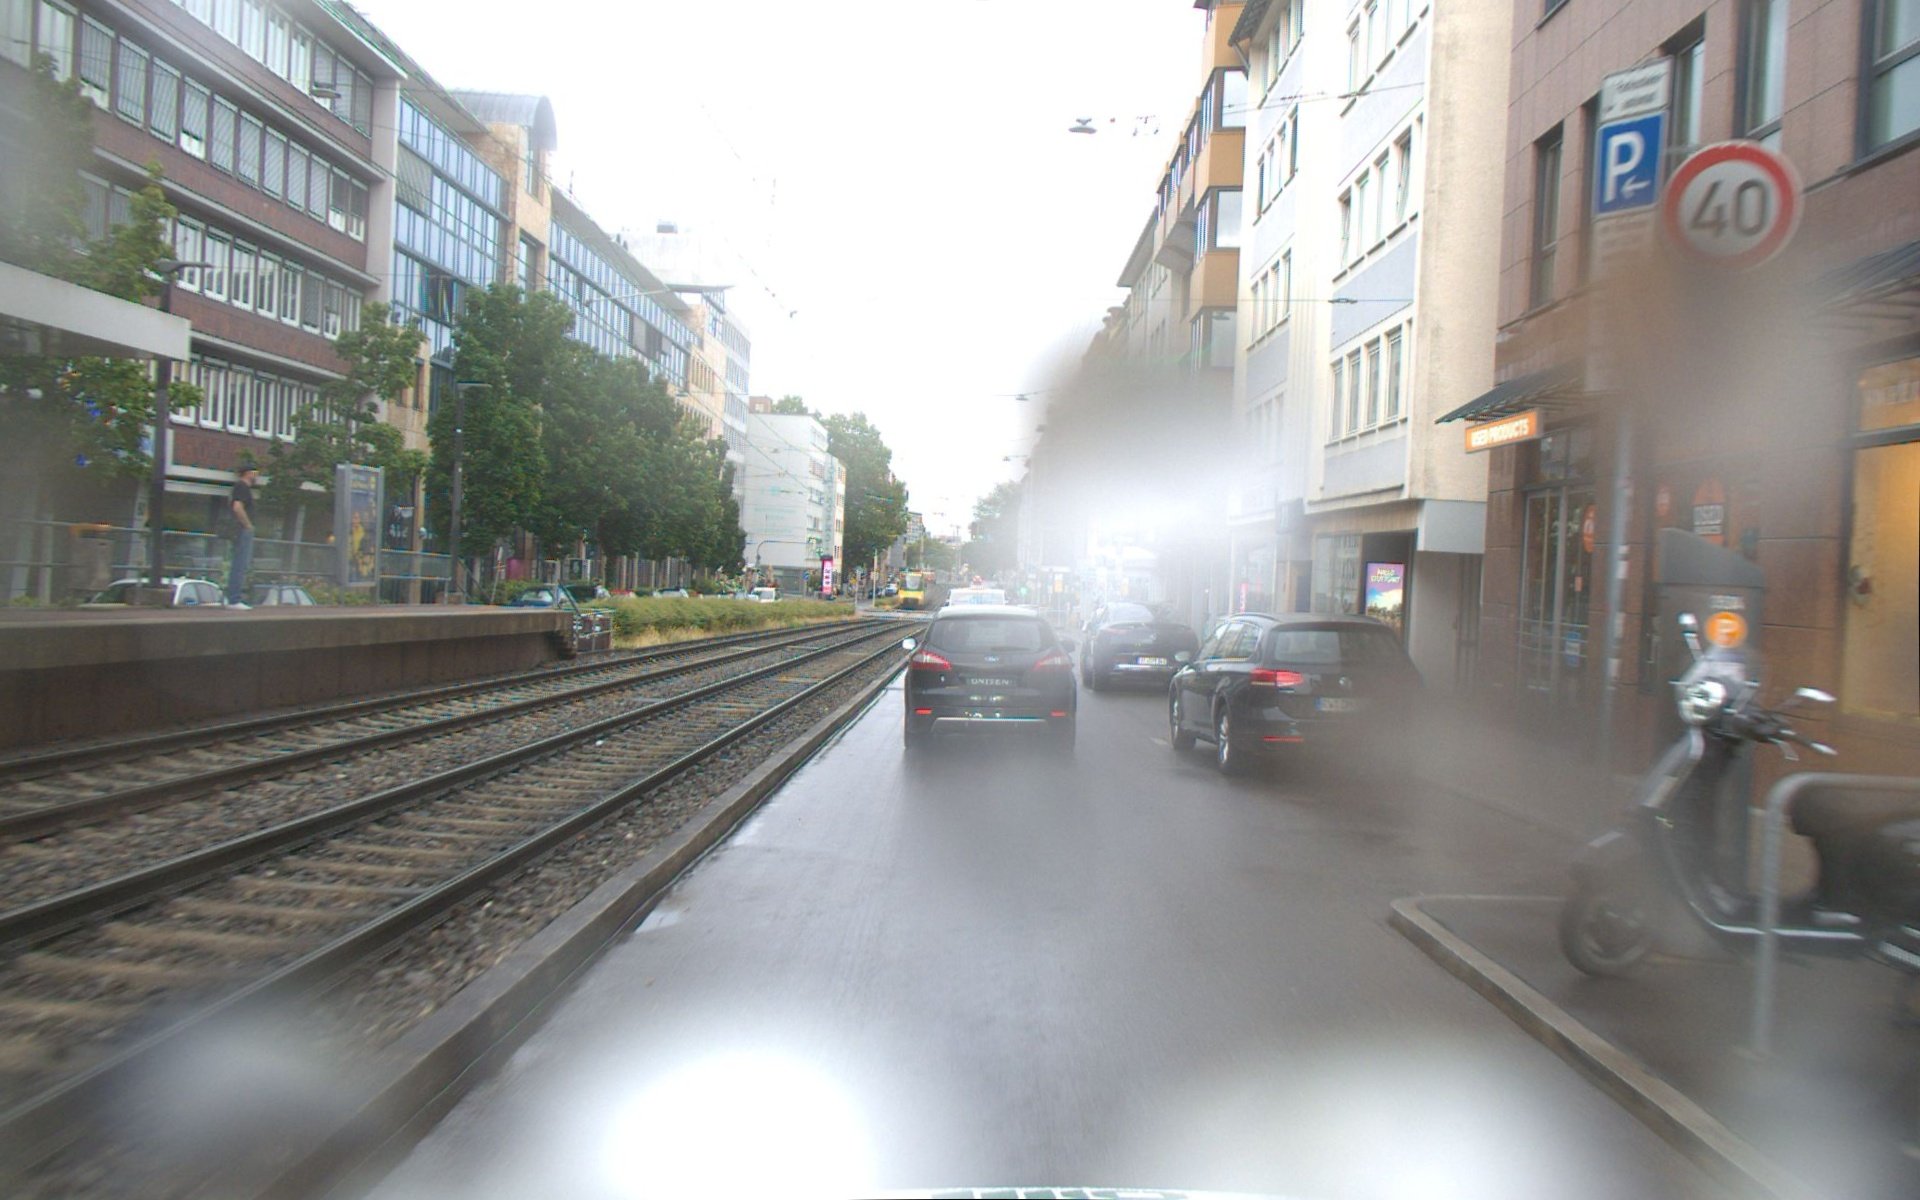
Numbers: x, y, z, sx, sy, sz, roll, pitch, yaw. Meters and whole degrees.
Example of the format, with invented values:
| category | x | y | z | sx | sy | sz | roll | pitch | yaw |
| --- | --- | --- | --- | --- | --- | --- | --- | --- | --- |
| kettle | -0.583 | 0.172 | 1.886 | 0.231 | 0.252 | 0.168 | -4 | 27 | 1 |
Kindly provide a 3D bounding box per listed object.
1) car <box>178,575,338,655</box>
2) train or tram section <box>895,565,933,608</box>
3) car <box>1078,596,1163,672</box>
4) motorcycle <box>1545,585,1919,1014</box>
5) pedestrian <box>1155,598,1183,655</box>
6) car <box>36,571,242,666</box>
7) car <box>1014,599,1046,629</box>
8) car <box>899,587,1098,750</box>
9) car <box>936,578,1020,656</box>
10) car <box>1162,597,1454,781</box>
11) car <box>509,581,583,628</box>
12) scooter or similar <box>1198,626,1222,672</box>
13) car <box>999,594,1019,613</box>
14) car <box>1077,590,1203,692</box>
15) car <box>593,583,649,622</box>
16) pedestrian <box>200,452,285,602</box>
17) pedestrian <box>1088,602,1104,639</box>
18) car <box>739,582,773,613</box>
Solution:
| category | x | y | z | sx | sy | sz | roll | pitch | yaw |
| --- | --- | --- | --- | --- | --- | --- | --- | --- | --- |
| car | -14.103 | 0.312 | 33.468 | 1.537 | 1.461 | 4.175 | 2 | -1 | -2 |
| train or tram section | -4.599 | -1.245 | 163.619 | 3.442 | 3.843 | 11.326 | 2 | -1 | -2 |
| car | 3.443 | 0.719 | 35.964 | 1.525 | 1.502 | 3.566 | 2 | -1 | 1 |
| motorcycle | 3.260 | 0.702 | 6.091 | 2.040 | 1.432 | 0.799 | 2 | -2 | 19 |
| pedestrian | 6.337 | 0.807 | 50.160 | 0.681 | 1.681 | 0.965 | 2 | -1 | 0 |
| car | -14.113 | 0.325 | 28.697 | 1.537 | 1.461 | 4.236 | 2 | -1 | -2 |
| car | 4.303 | 0.879 | 102.378 | 1.867 | 1.662 | 4.574 | 3 | -1 | 2 |
| car | 0.402 | 0.706 | 17.732 | 1.867 | 1.488 | 3.445 | 3 | -1 | 1 |
| car | 0.535 | 0.495 | 44.374 | 1.866 | 1.897 | 4.575 | 3 | -1 | 4 |
| car | 3.237 | 0.781 | 16.311 | 1.738 | 1.494 | 4.607 | 2 | -1 | -2 |
| car | -13.854 | 0.157 | 55.531 | 1.537 | 1.461 | 4.175 | 2 | -1 | -2 |
| scooter or similar | 6.179 | 1.194 | 40.891 | 0.205 | 1.102 | 1.232 | 2 | -1 | -7 |
| car | 4.876 | 0.338 | 164.893 | 1.867 | 1.662 | 4.574 | 3 | -1 | 2 |
| car | 3.262 | 0.732 | 30.876 | 1.770 | 1.660 | 5.169 | 2 | -1 | 0 |
| car | -13.712 | 0.116 | 67.039 | 1.537 | 1.461 | 4.175 | 2 | -1 | -2 |
| pedestrian | -9.119 | -0.909 | 21.045 | 0.642 | 1.833 | 0.850 | 2 | -1 | -2 |
| pedestrian | 5.909 | 0.902 | 71.756 | 0.599 | 1.564 | 0.649 | 2 | -1 | 0 |
| car | -13.758 | -0.162 | 111.850 | 1.868 | 1.897 | 4.571 | 3 | -1 | -2 |
